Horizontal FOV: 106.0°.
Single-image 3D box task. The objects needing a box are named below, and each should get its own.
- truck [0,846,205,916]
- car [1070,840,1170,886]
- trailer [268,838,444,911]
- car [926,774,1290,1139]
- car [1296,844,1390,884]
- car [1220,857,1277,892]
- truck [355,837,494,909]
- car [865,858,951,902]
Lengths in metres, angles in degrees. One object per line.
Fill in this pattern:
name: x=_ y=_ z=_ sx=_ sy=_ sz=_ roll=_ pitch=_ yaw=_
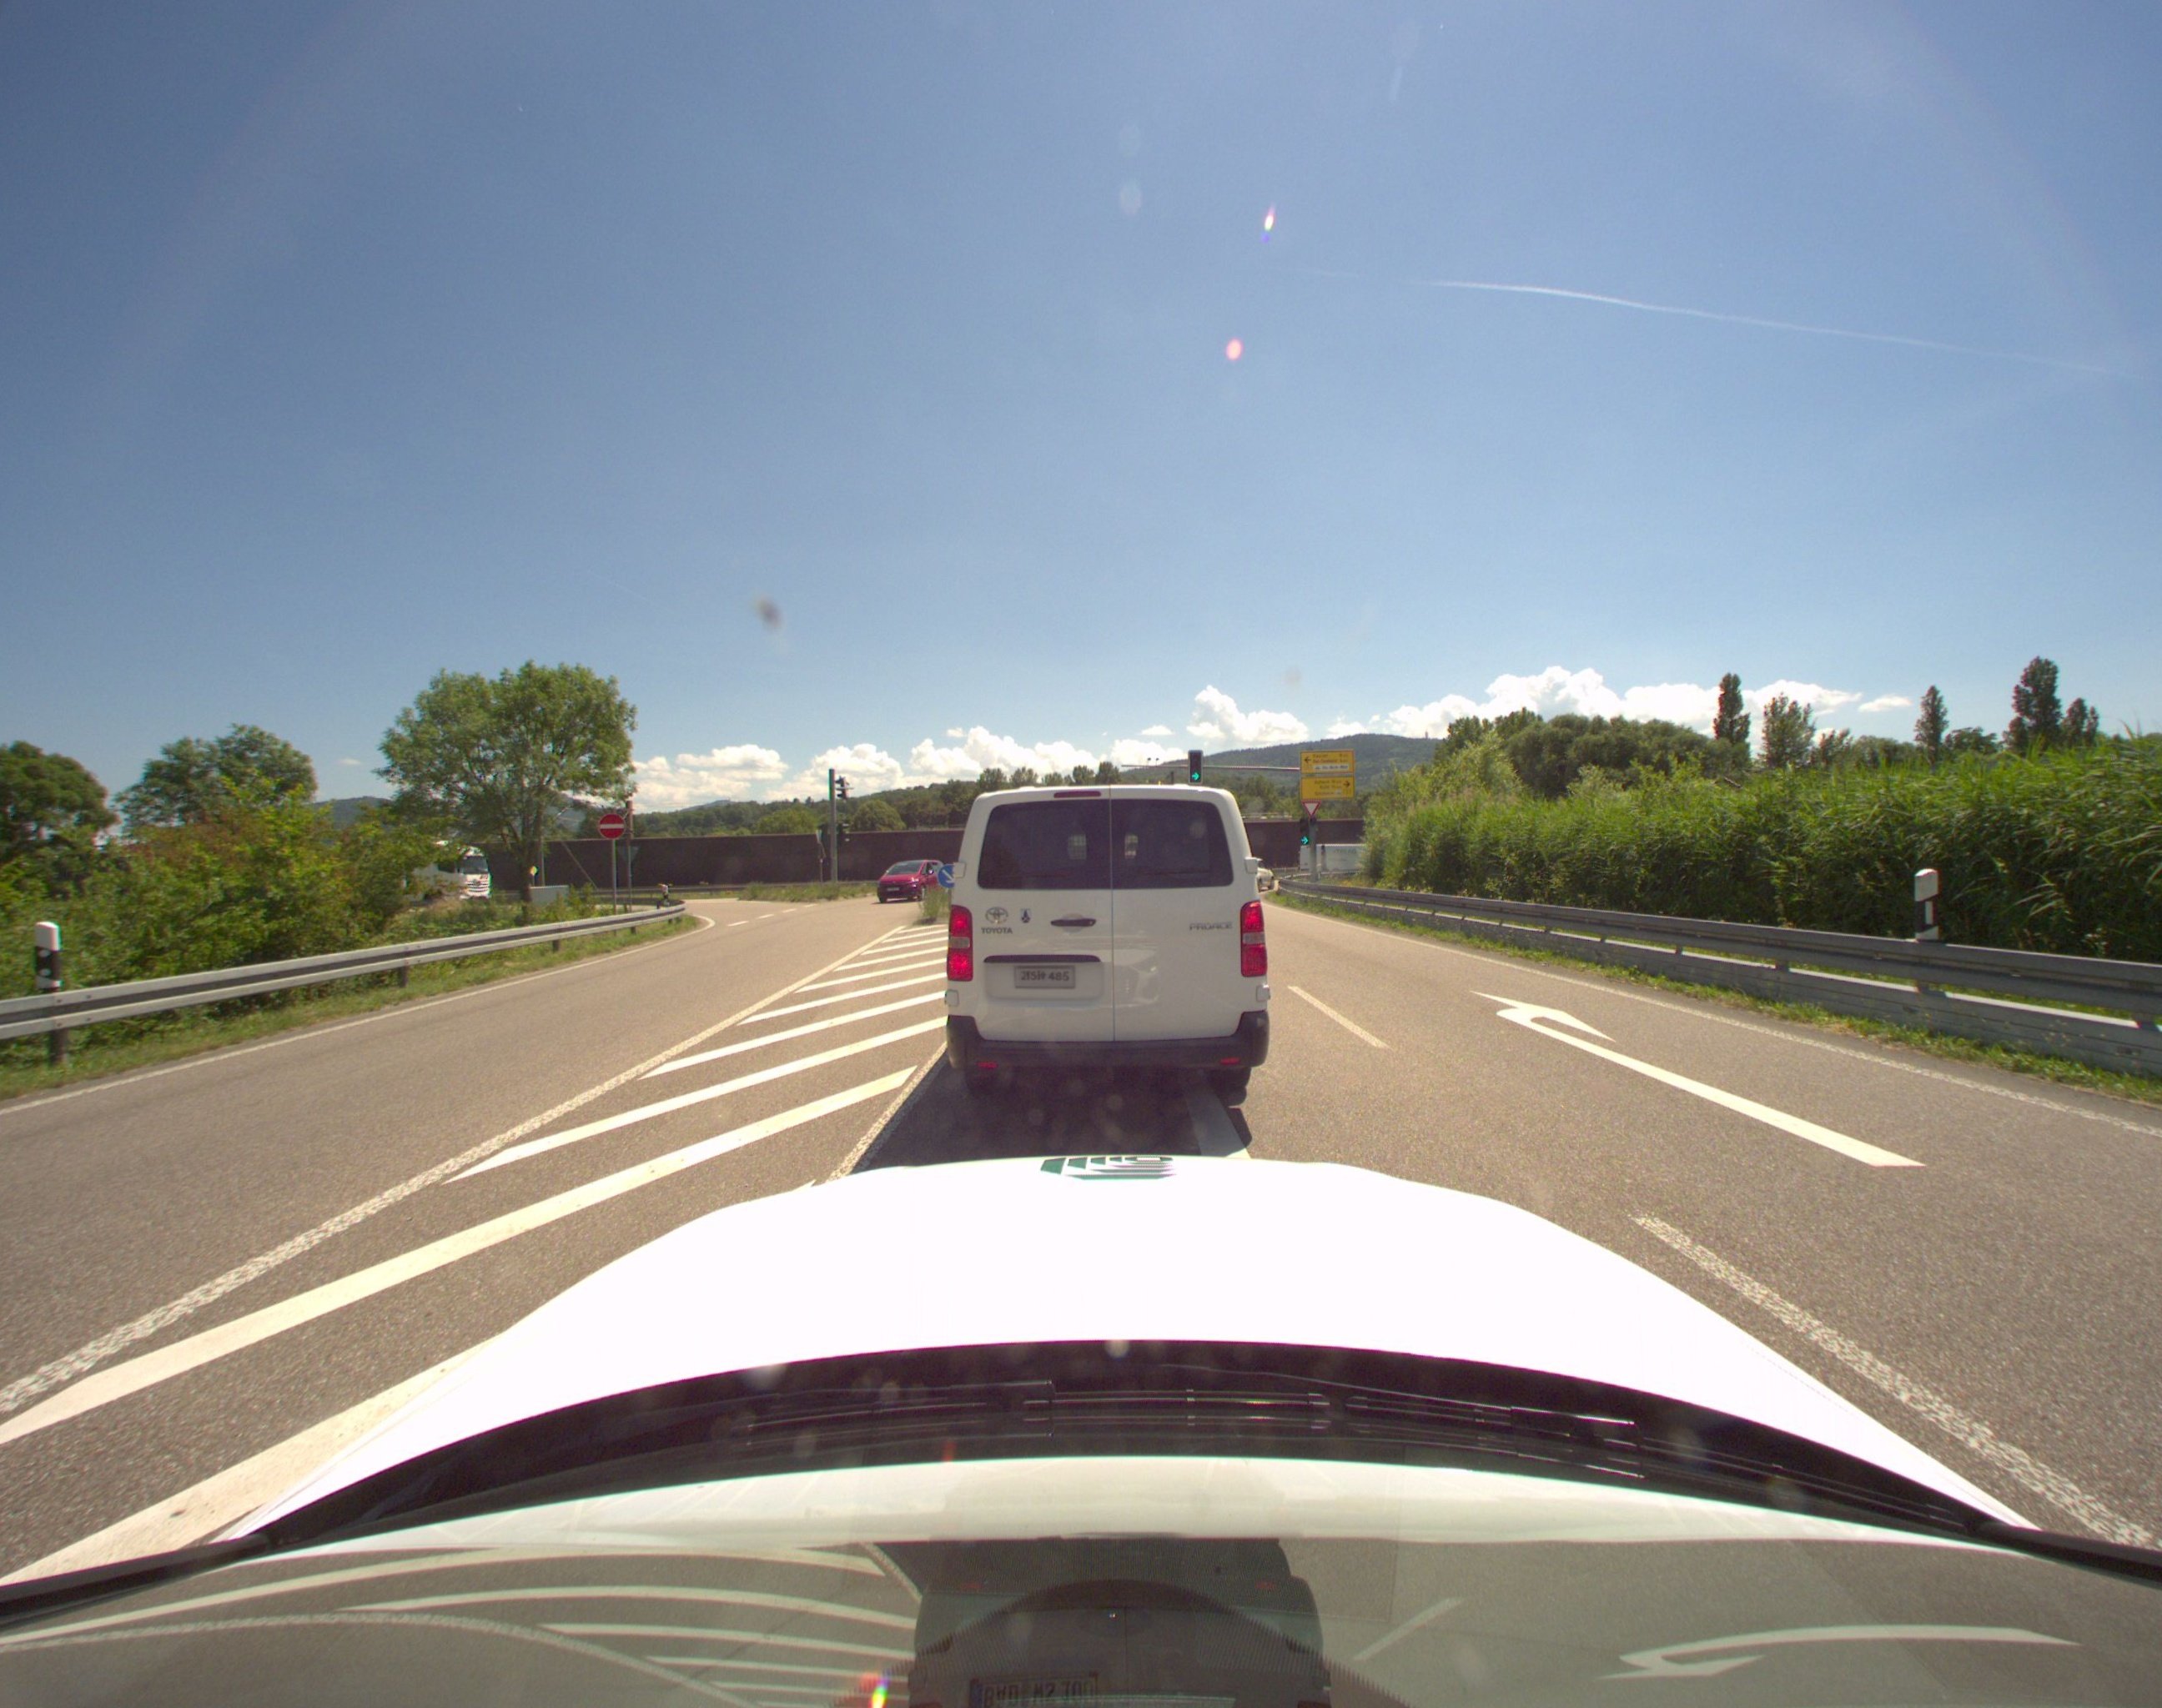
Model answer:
truck: x=-52.574 y=1.441 z=43.739 sx=9.028 sy=3.470 sz=2.128 roll=-1 pitch=-1 yaw=2
car: x=2.228 y=0.515 z=46.872 sx=5.357 sy=2.451 sz=2.028 roll=-1 pitch=-1 yaw=-17
trailer: x=-38.525 y=1.068 z=43.464 sx=6.879 sy=3.646 sz=2.519 roll=-1 pitch=-1 yaw=-3
car: x=0.181 y=0.554 z=6.270 sx=1.880 sy=1.886 sz=4.001 roll=-1 pitch=-1 yaw=1
car: x=13.642 y=0.486 z=42.308 sx=4.852 sy=2.000 sz=1.916 roll=0 pitch=-1 yaw=-30
car: x=7.462 y=0.879 z=36.055 sx=1.640 sy=1.431 sz=3.385 roll=-1 pitch=-1 yaw=26
truck: x=-35.046 y=0.999 z=43.644 sx=5.249 sy=3.646 sz=2.519 roll=-1 pitch=-1 yaw=-3
car: x=-6.940 y=1.015 z=33.166 sx=1.982 sy=1.656 sz=4.335 roll=-1 pitch=-1 yaw=9
